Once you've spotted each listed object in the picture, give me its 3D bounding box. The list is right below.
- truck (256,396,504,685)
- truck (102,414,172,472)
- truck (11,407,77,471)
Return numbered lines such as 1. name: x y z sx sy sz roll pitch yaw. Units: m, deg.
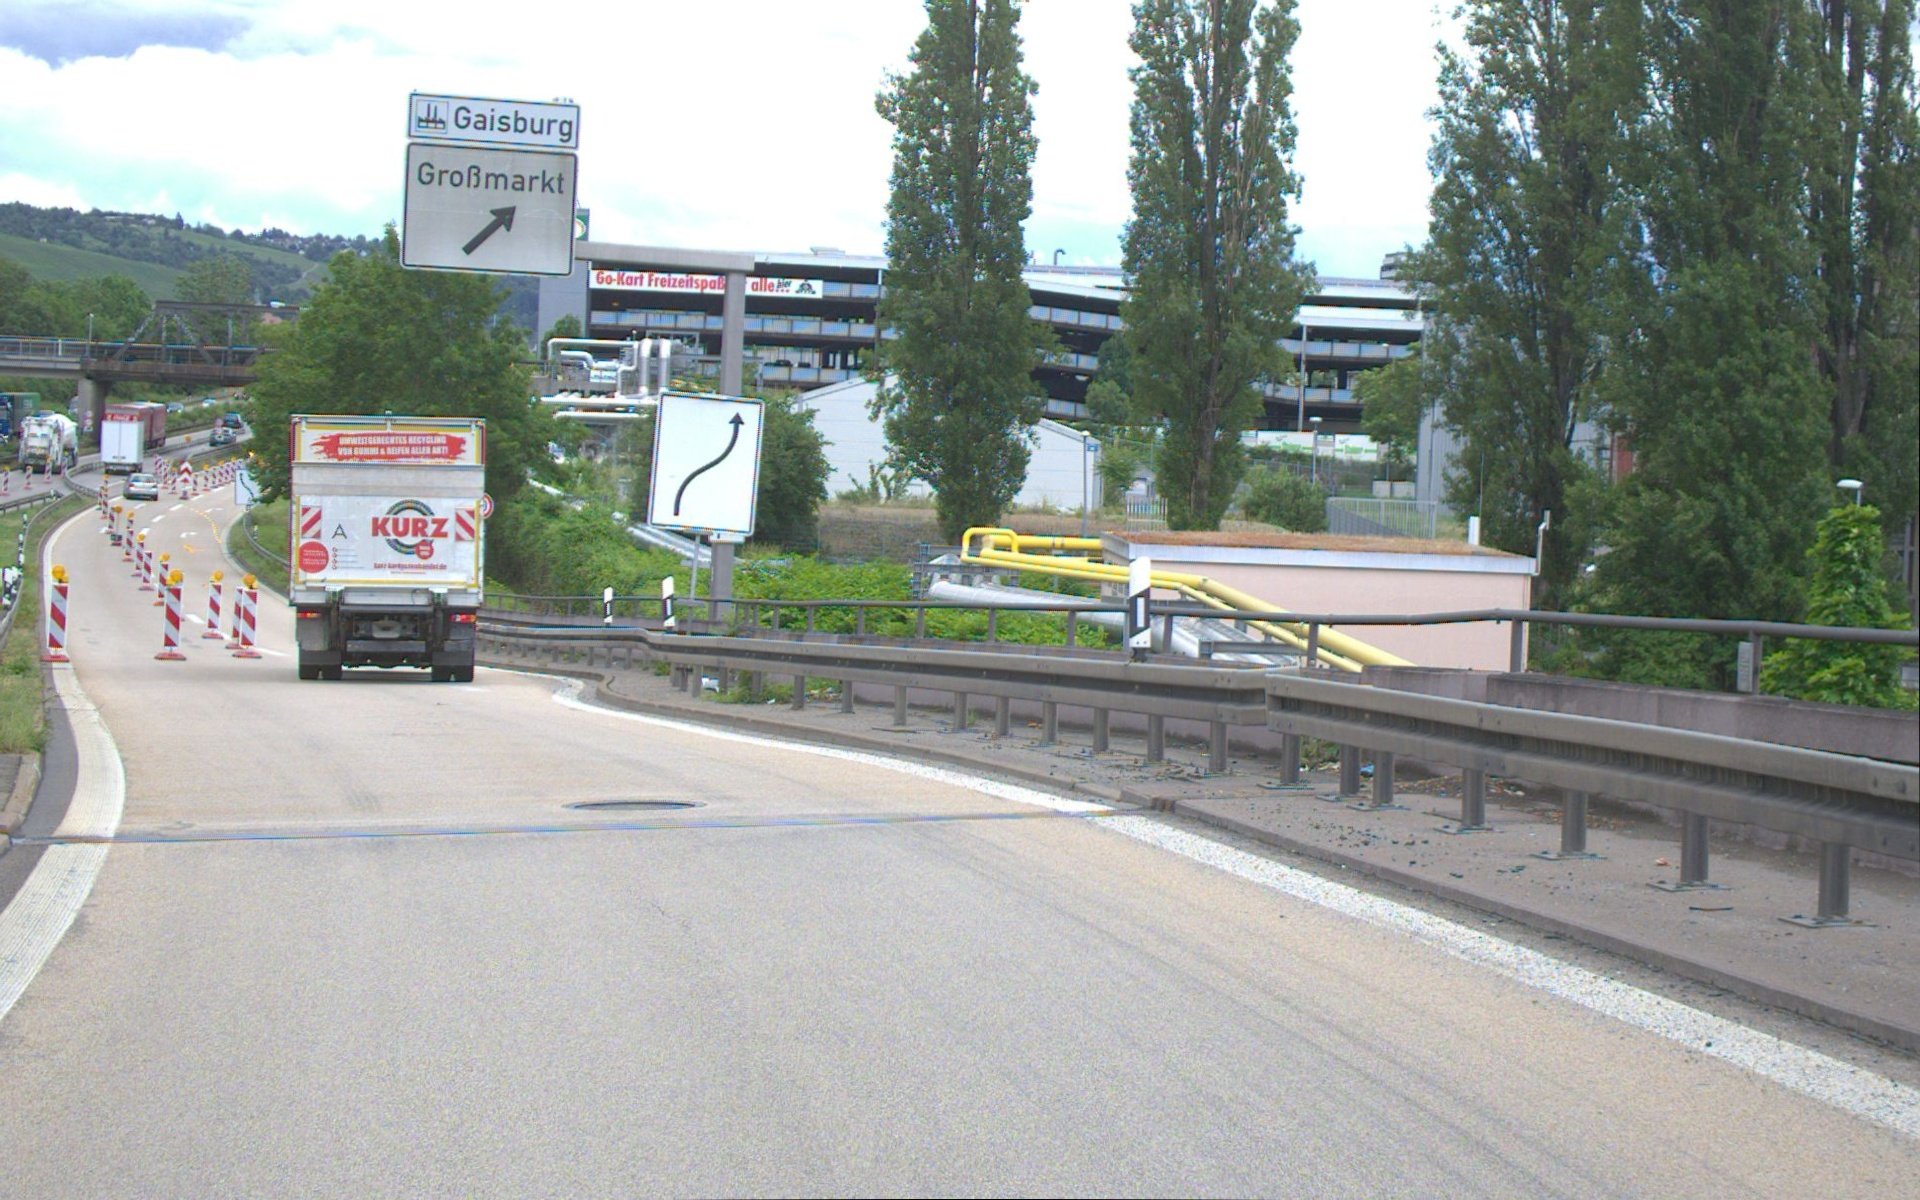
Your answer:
1. truck: -8.306 -0.806 48.959 3.050 3.660 7.929 2 0 -10
2. truck: -53.491 -10.219 223.583 3.286 3.587 7.667 3 3 -6
3. truck: -57.983 -10.238 217.753 3.285 3.839 7.668 2 3 -10
